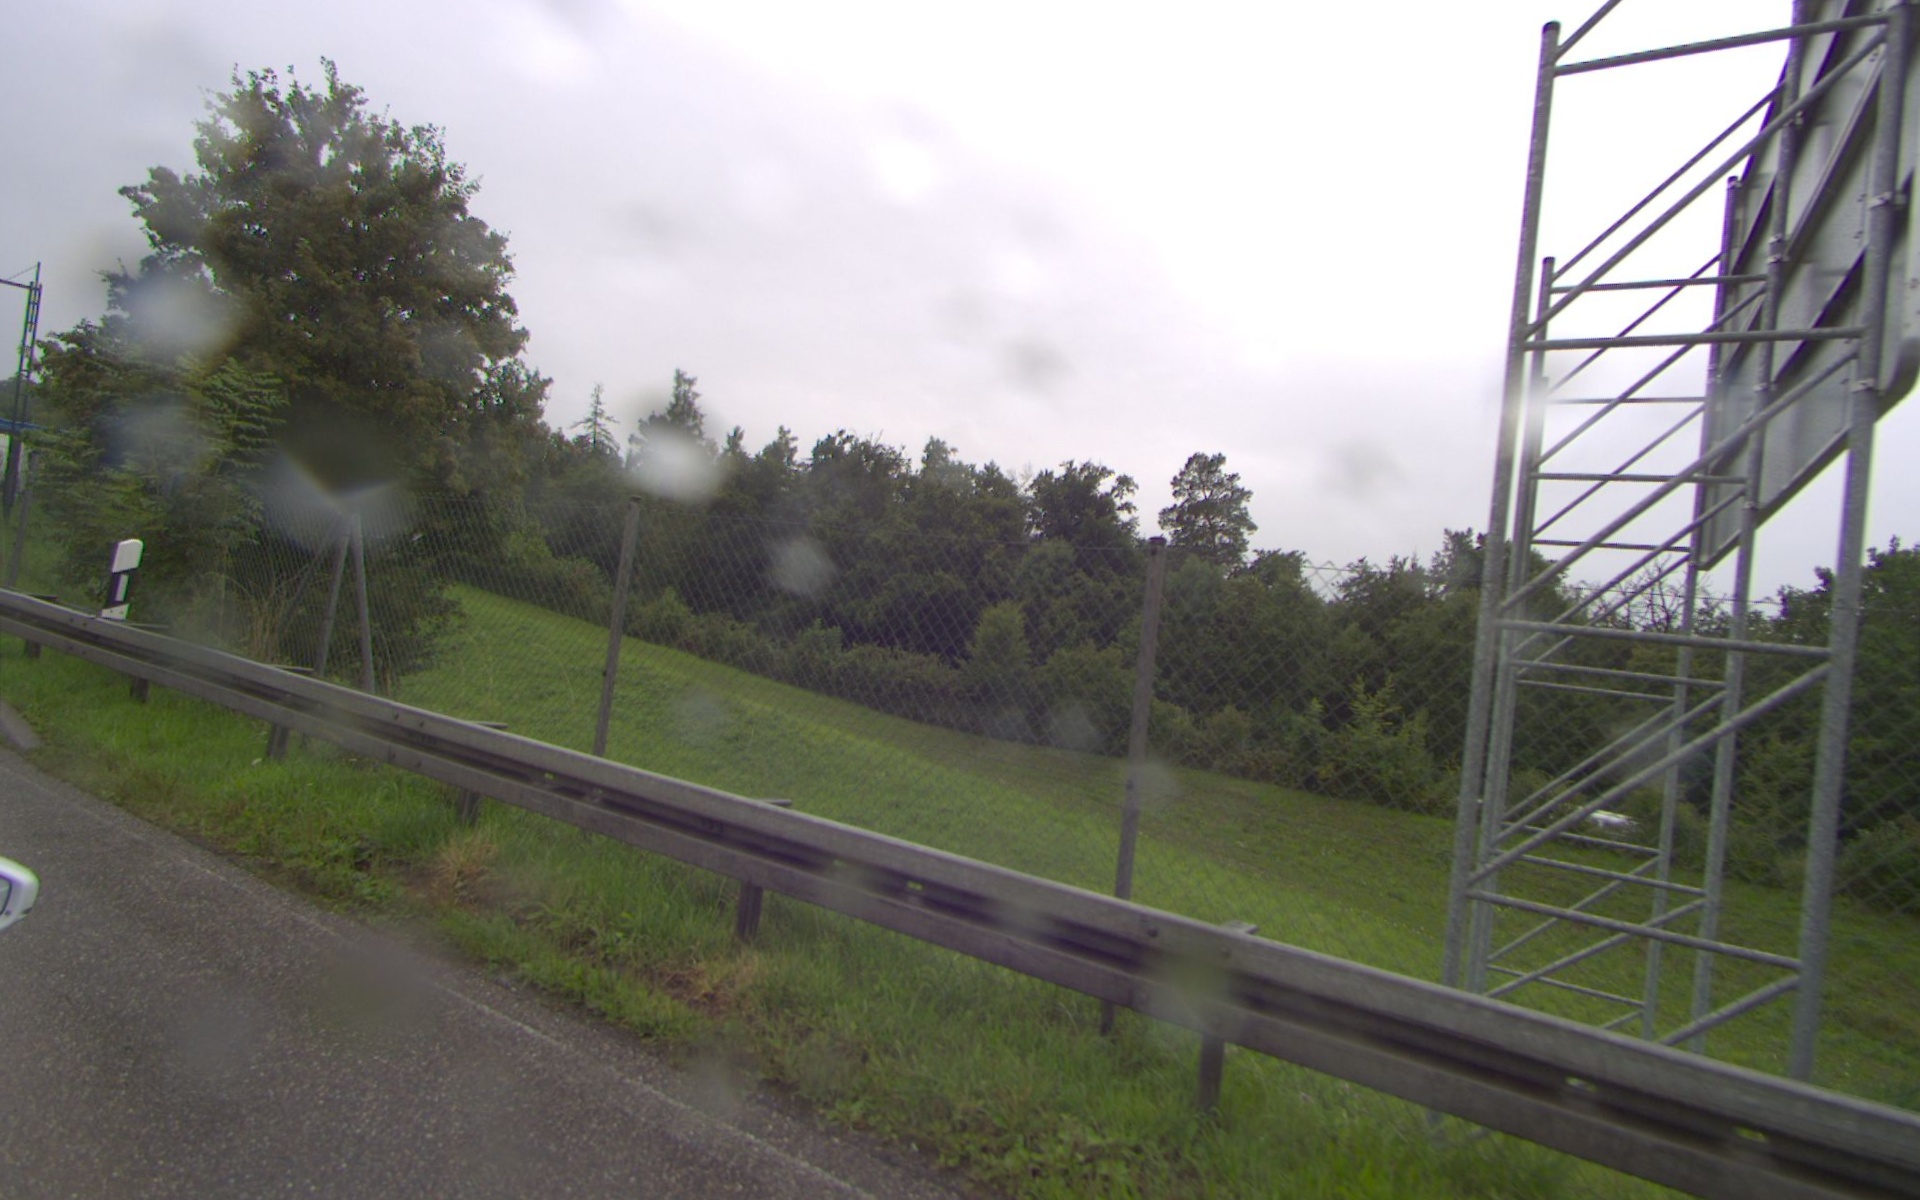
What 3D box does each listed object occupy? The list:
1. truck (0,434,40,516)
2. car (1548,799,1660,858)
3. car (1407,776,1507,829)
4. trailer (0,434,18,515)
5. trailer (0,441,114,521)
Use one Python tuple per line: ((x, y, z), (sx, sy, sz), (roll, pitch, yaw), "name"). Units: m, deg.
((-44.525, -5.831, 46.094), (2.130, 3.555, 4.611), (8, 0, -29), "truck")
((28.231, 10.011, 44.255), (3.934, 1.678, 1.889), (7, -6, 32), "car")
((23.405, 9.535, 47.385), (3.934, 1.617, 1.777), (7, -6, 32), "car")
((-41.619, -5.476, 40.865), (2.115, 3.482, 10.175), (8, 0, -29), "trailer")
((-49.038, -6.305, 54.657), (2.161, 3.433, 7.524), (8, 0, -22), "trailer")
